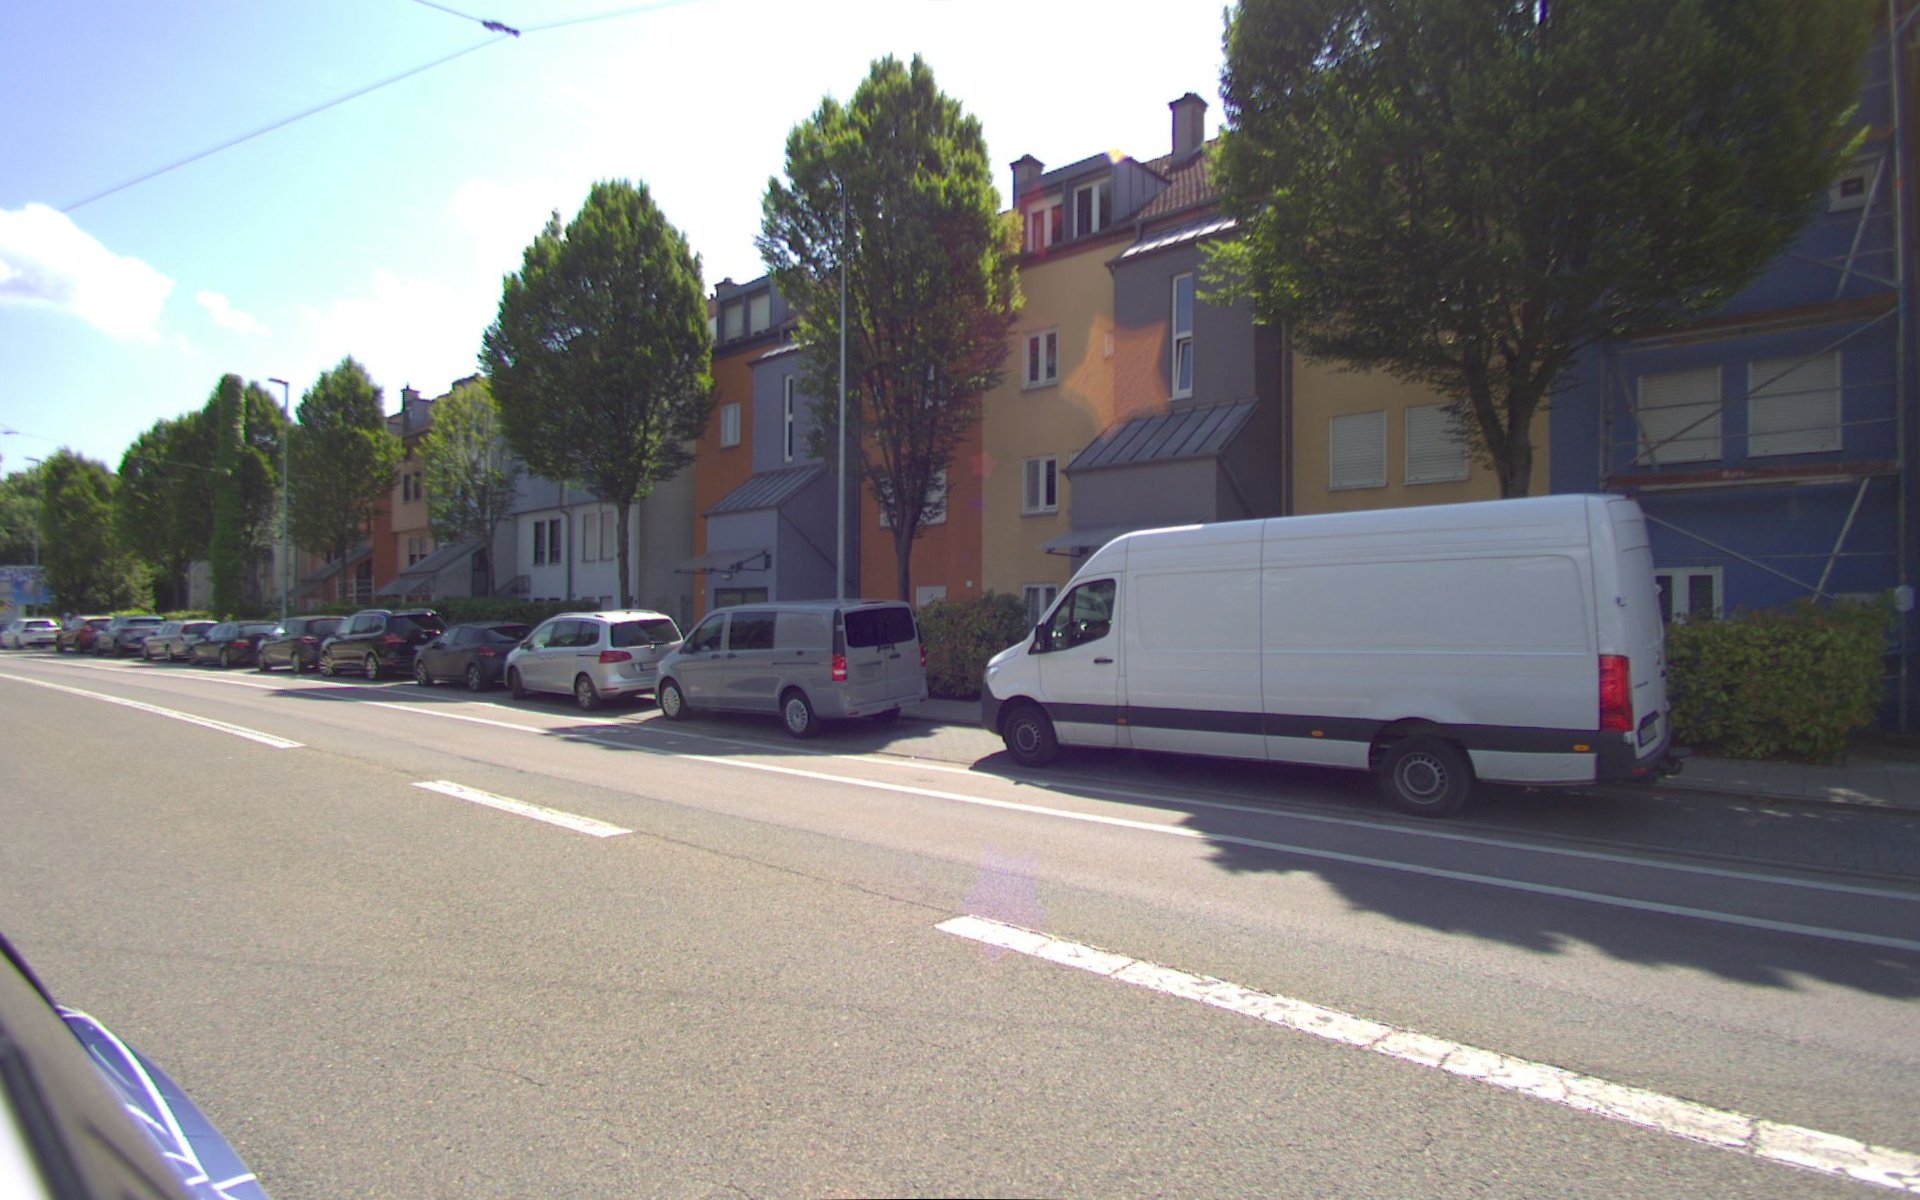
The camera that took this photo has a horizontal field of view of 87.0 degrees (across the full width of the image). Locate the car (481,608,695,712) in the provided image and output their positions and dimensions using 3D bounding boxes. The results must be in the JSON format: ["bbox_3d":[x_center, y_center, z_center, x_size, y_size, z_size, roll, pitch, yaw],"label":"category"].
[{"bbox_3d":[-7.249,1.055,19.445,4.901,1.765,1.699,-1,-1,41],"label":"car"}]

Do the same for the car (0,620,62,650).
[{"bbox_3d":[-45.078,1.675,48.722,4.384,1.421,1.642,-1,-2,33],"label":"car"}]

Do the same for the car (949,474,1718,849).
[{"bbox_3d":[3.286,0.438,10.429,7.034,2.670,2.299,-1,2,43],"label":"car"}]

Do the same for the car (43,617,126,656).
[{"bbox_3d":[-38.054,1.548,43.977,4.161,1.621,1.642,-1,-1,33],"label":"car"}]

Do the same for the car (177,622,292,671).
[{"bbox_3d":[-24.081,1.482,33.542,4.956,1.457,1.725,-1,0,37],"label":"car"}]

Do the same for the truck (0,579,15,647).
[{"bbox_3d":[-54.954,0.784,55.415,8.146,3.575,2.809,-1,1,33],"label":"truck"}]

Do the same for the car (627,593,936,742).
[{"bbox_3d":[-2.965,0.923,15.864,5.360,1.909,1.788,-1,2,42],"label":"car"}]

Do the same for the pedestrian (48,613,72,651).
[{"bbox_3d":[-46.303,1.621,52.097,0.633,1.937,0.710,0,-2,-14],"label":"pedestrian"}]

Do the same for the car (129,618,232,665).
[{"bbox_3d":[-28.775,1.477,37.318,4.886,1.519,1.641,0,2,36],"label":"car"}]

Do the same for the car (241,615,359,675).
[{"bbox_3d":[-19.538,1.286,29.919,4.280,1.630,1.639,0,-2,39],"label":"car"}]

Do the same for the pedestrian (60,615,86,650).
[{"bbox_3d":[-45.539,1.674,51.979,0.695,1.808,0.683,0,-2,6],"label":"pedestrian"}]

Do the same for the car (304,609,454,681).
[{"bbox_3d":[-15.218,1.133,26.402,4.882,1.729,1.734,-1,-2,39],"label":"car"}]

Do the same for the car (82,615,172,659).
[{"bbox_3d":[-33.262,1.462,40.382,4.678,1.621,1.641,-1,0,36],"label":"car"}]

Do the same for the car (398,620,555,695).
[{"bbox_3d":[-10.994,1.230,22.907,4.083,1.482,1.583,0,-1,39],"label":"car"}]
